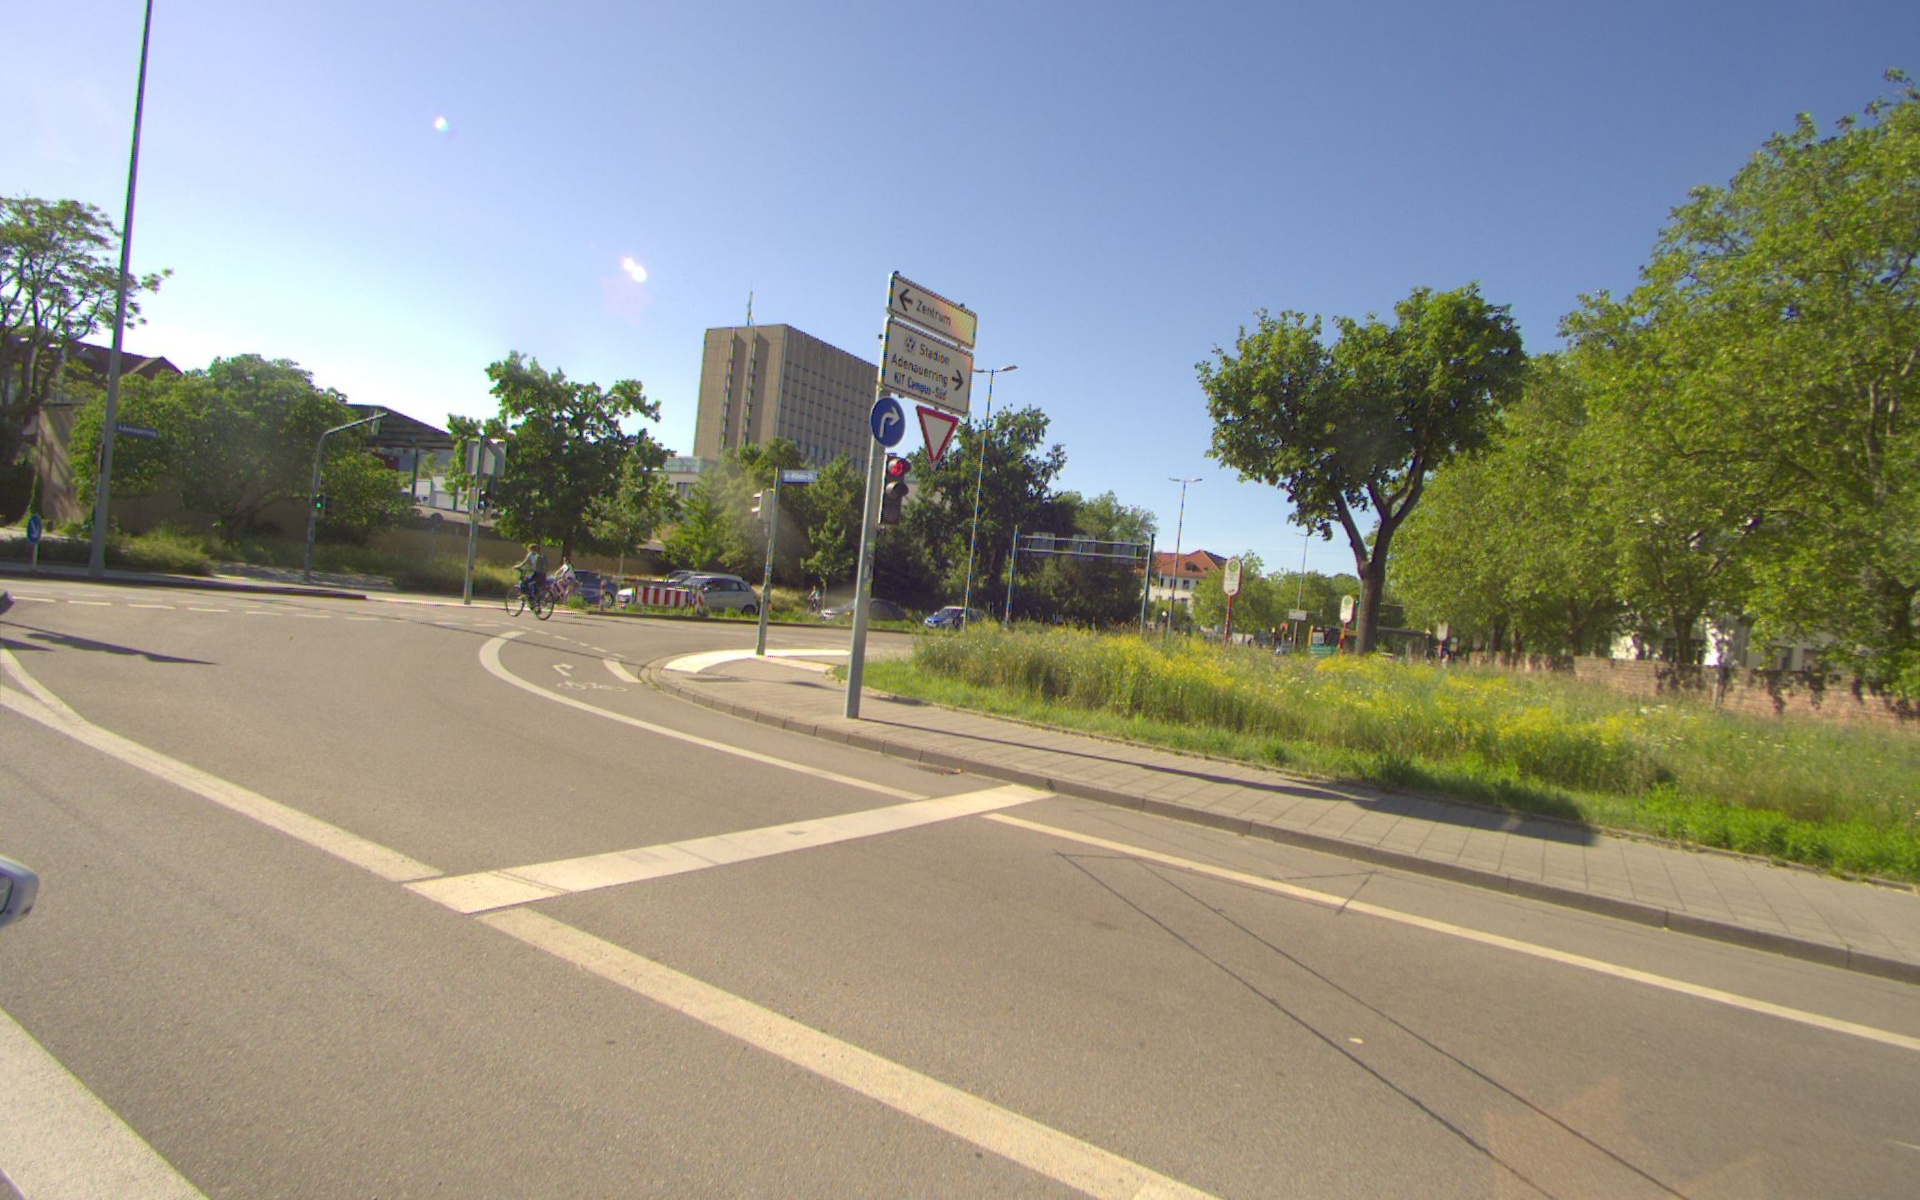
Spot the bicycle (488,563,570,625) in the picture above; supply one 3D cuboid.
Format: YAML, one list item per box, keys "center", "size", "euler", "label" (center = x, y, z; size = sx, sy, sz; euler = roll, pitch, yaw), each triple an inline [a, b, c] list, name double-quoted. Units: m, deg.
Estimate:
- center: [-9.919, -0.142, 23.127]
  size: [1.838, 1.180, 0.642]
  euler: [8, 2, 28]
  label: "bicycle"

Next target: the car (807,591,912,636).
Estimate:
- center: [-4.377, 0.638, 44.614]
  size: [1.953, 1.573, 4.709]
  euler: [5, -1, 35]
  label: "car"

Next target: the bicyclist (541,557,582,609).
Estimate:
- center: [-13.958, -0.603, 35.257]
  size: [0.734, 1.707, 0.974]
  euler: [7, 2, 34]
  label: "bicyclist"

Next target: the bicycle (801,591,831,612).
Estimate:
- center: [-9.028, 0.119, 63.048]
  size: [0.632, 1.180, 1.952]
  euler: [9, 3, 30]
  label: "bicycle"

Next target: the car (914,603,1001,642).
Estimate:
- center: [-0.083, 1.183, 50.743]
  size: [1.953, 1.573, 4.709]
  euler: [5, -1, 35]
  label: "car"

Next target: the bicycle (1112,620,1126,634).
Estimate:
- center: [15.029, 2.577, 95.119]
  size: [0.632, 1.179, 1.867]
  euler: [7, 0, 28]
  label: "bicycle"

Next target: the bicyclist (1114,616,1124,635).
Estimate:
- center: [15.016, 2.389, 95.035]
  size: [0.632, 1.666, 0.775]
  euler: [7, 1, 26]
  label: "bicyclist"

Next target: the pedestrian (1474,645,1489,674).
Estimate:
- center: [31.420, 3.586, 60.588]
  size: [0.642, 1.630, 0.558]
  euler: [7, -1, 30]
  label: "pedestrian"

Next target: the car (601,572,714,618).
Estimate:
- center: [-12.499, -0.173, 41.728]
  size: [1.971, 1.487, 3.982]
  euler: [6, 0, 40]
  label: "car"

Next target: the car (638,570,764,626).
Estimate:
- center: [-9.534, -0.054, 37.345]
  size: [1.762, 1.644, 4.303]
  euler: [5, -1, 35]
  label: "car"

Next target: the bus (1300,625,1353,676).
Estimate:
- center: [28.436, 3.960, 77.926]
  size: [2.935, 3.310, 6.255]
  euler: [7, -2, 26]
  label: "bus"

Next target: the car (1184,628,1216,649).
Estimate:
- center: [23.897, 3.824, 100.157]
  size: [1.906, 1.821, 4.355]
  euler: [5, -1, 28]
  label: "car"

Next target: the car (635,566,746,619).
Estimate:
- center: [-12.514, -0.328, 46.961]
  size: [1.909, 1.976, 4.742]
  euler: [5, -1, 35]
  label: "car"

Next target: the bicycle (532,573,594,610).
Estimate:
- center: [-13.937, -0.287, 35.349]
  size: [0.736, 1.180, 1.864]
  euler: [7, 2, 33]
  label: "bicycle"

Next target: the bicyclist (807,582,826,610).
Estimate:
- center: [-9.005, -0.251, 62.976]
  size: [0.621, 1.617, 0.830]
  euler: [9, 3, 30]
  label: "bicyclist"

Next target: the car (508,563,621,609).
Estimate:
- center: [-16.175, -0.550, 41.333]
  size: [1.679, 1.459, 3.988]
  euler: [5, -1, 35]
  label: "car"

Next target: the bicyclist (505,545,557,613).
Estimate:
- center: [-9.856, -0.474, 23.102]
  size: [0.763, 1.463, 0.642]
  euler: [8, 3, 29]
  label: "bicyclist"
